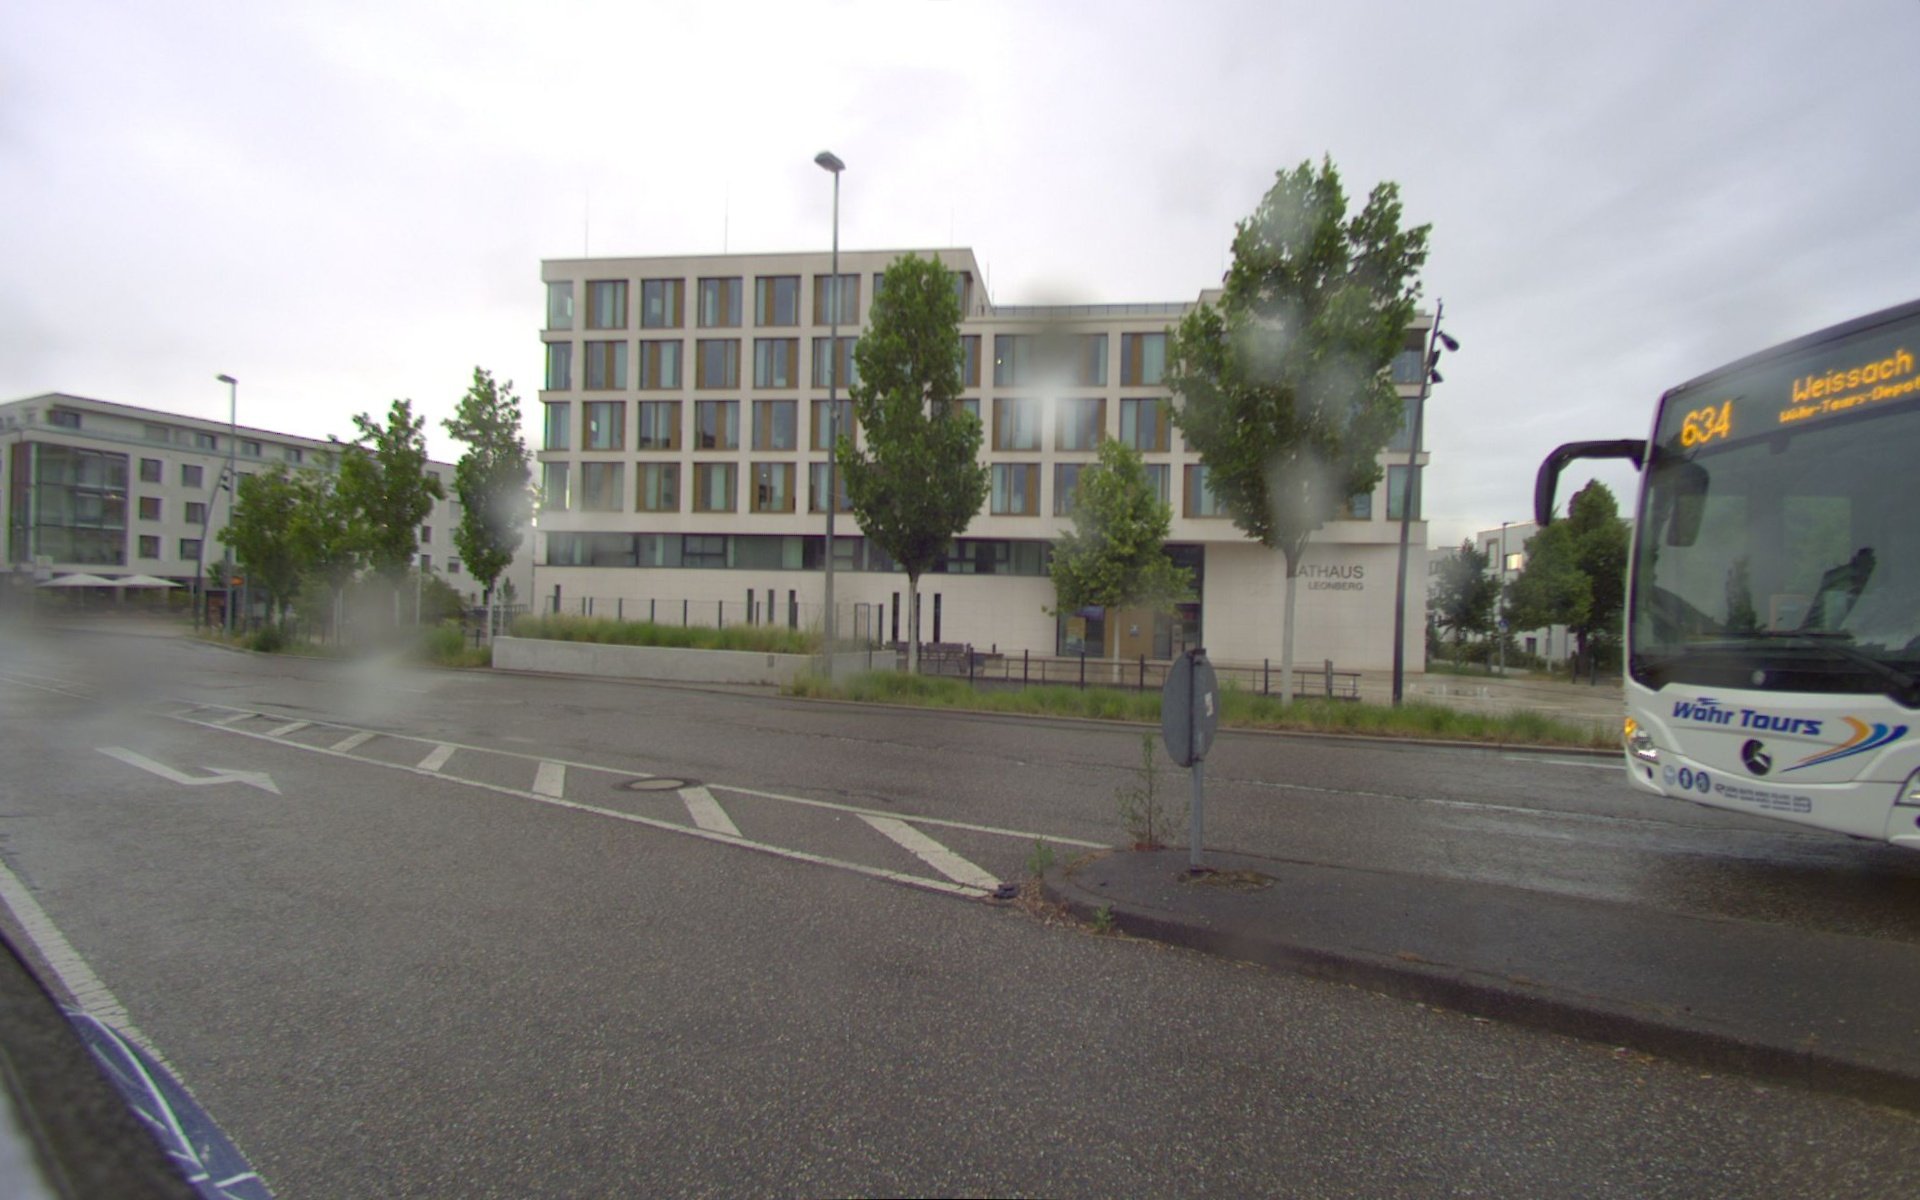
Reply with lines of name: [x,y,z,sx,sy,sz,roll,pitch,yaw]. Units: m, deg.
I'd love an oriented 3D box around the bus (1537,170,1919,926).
bus: [8.270,-0.163,5.513,8.750,3.138,2.803,0,-1,-4]
